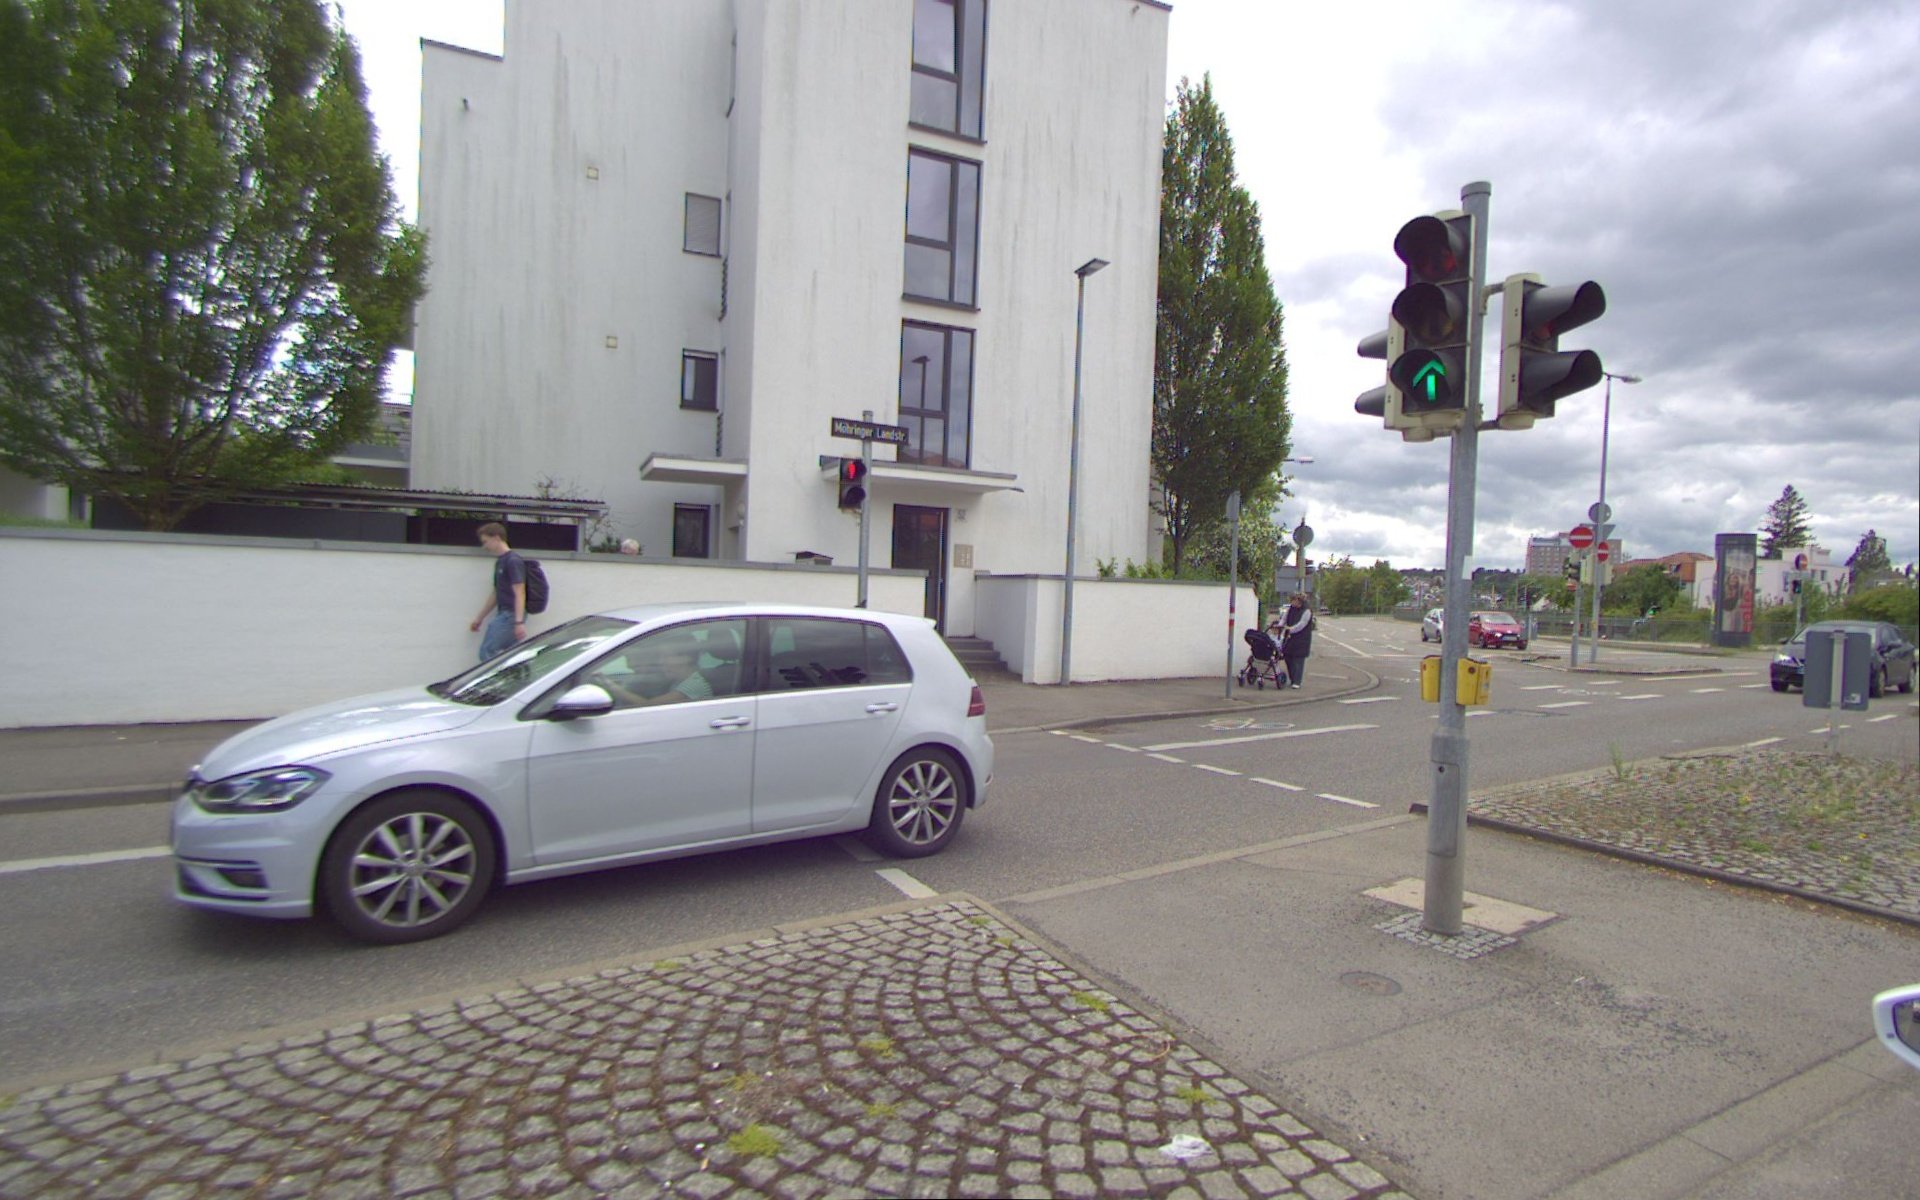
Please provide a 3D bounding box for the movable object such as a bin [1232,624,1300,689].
[{"bbox_3d":[4.974,0.911,16.303,0.977,0.973,0.493,1,5,-37],"label":"movable object such as a bin"}]

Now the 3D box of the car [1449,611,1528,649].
[{"bbox_3d":[21.623,1.212,41.235,1.739,1.466,3.706,1,-1,9],"label":"car"}]

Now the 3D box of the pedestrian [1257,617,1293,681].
[{"bbox_3d":[5.526,0.852,17.611,0.440,1.076,0.323,1,5,-36],"label":"pedestrian"}]

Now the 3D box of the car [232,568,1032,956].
[{"bbox_3d":[-1.670,0.643,5.671,3.911,1.463,1.785,2,0,-37],"label":"car"}]

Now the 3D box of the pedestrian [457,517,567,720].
[{"bbox_3d":[-4.567,0.172,10.228,0.863,1.974,0.644,2,3,-34],"label":"pedestrian"}]

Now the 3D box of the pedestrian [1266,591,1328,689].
[{"bbox_3d":[5.628,0.655,16.794,0.725,1.563,0.527,1,6,-37],"label":"pedestrian"}]

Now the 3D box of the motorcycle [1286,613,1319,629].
[{"bbox_3d":[23.479,1.442,68.840,2.087,1.012,0.701,2,-4,-16],"label":"motorcycle"}]

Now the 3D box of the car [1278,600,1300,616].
[{"bbox_3d":[35.658,0.854,108.940,1.861,1.629,4.379,2,0,13],"label":"car"}]

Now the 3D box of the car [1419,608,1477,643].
[{"bbox_3d":[22.934,1.199,47.318,1.614,1.555,4.132,1,-1,14],"label":"car"}]

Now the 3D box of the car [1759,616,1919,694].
[{"bbox_3d":[17.835,1.072,20.309,3.881,1.409,1.708,2,-1,-37],"label":"car"}]
